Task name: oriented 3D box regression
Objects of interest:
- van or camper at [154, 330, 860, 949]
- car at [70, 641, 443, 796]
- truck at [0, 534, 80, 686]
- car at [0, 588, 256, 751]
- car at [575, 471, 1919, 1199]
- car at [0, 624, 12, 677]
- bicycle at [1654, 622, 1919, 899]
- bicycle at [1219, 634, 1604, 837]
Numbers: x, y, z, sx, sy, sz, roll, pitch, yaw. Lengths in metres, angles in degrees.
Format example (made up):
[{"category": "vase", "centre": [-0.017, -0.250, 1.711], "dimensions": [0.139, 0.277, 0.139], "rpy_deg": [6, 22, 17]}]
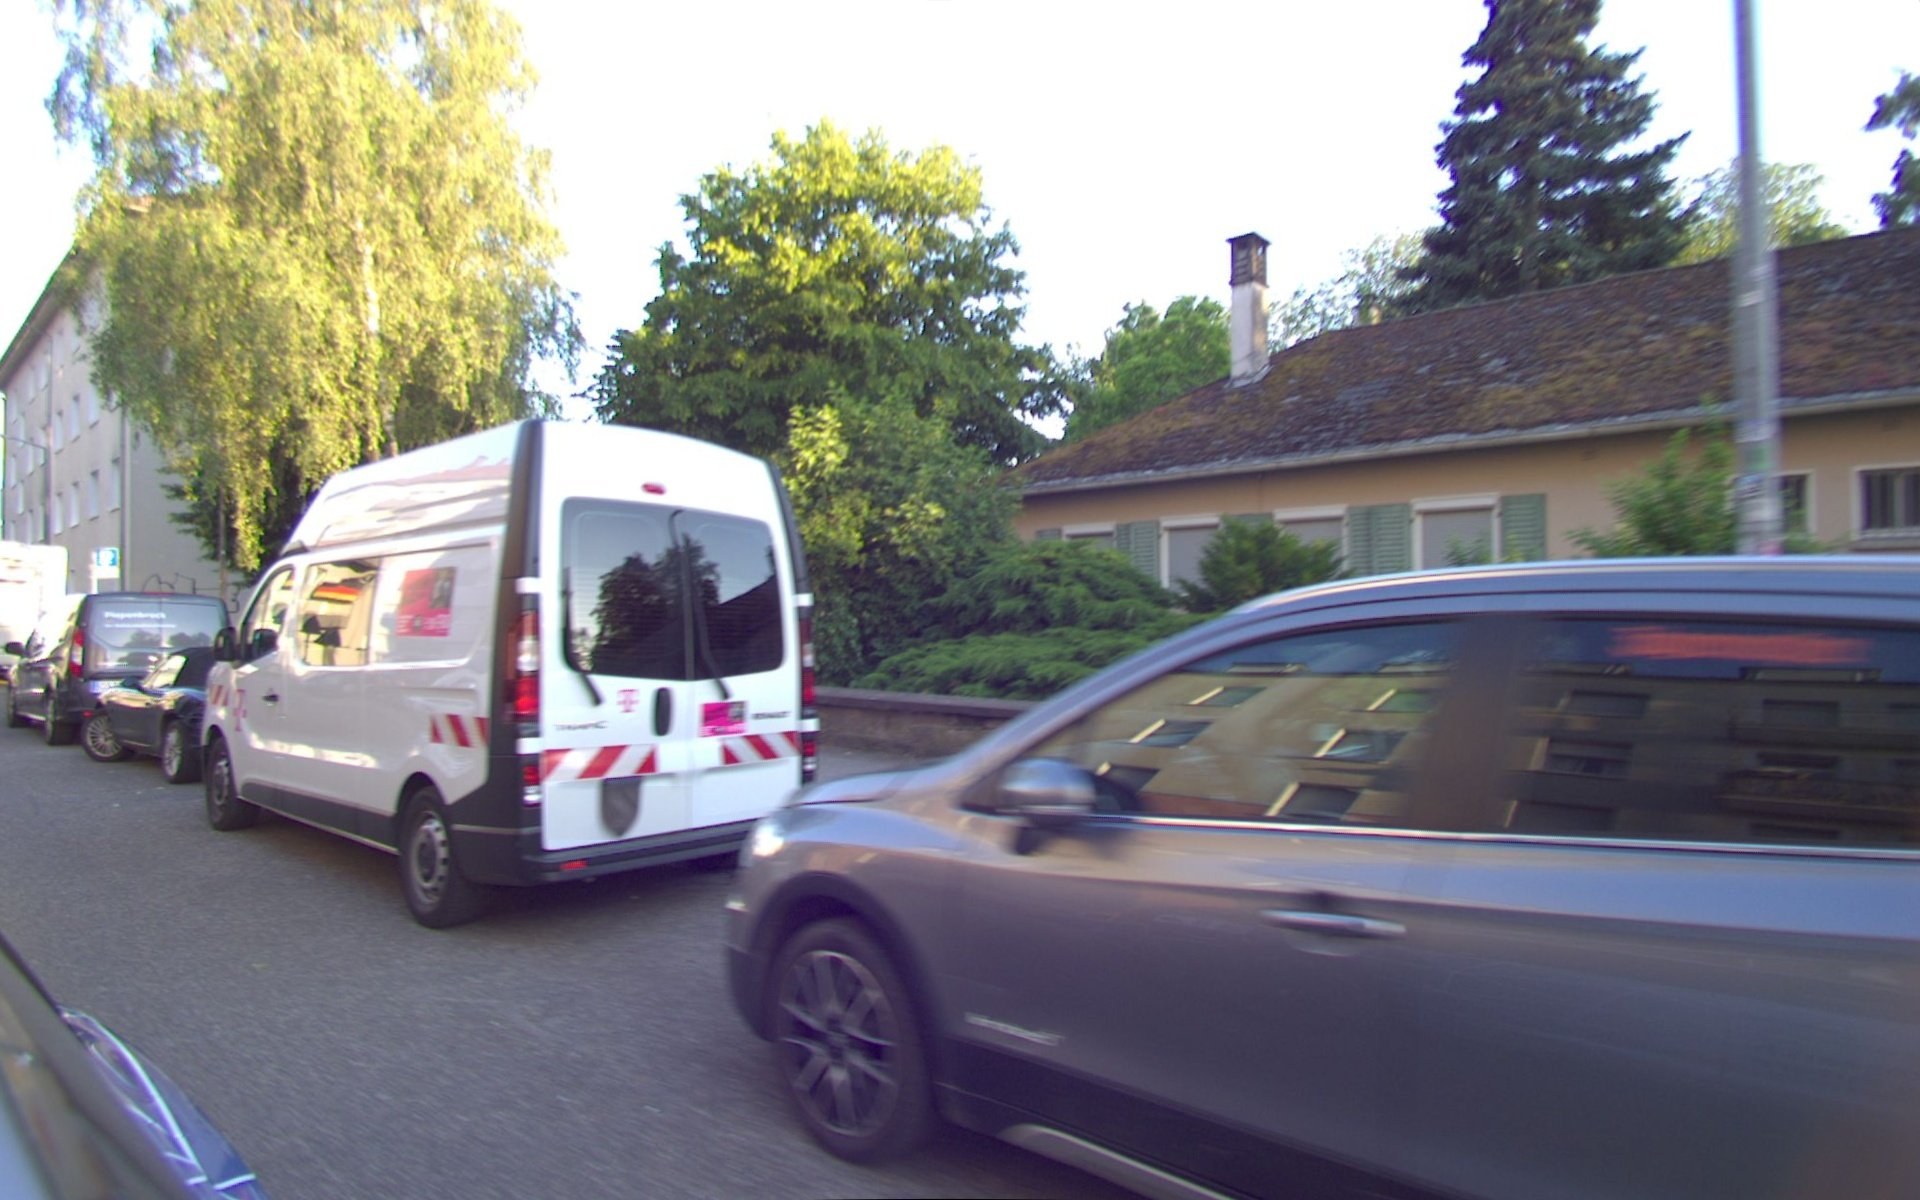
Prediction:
[{"category": "van or camper", "centre": [-3.483, 0.217, 6.808], "dimensions": [6.080, 2.475, 1.973], "rpy_deg": [-1, -2, 41]}, {"category": "car", "centre": [-7.318, 1.069, 10.422], "dimensions": [4.028, 1.198, 1.976], "rpy_deg": [-1, -1, 36]}, {"category": "truck", "centre": [-24.396, 0.283, 25.141], "dimensions": [8.011, 3.379, 2.500], "rpy_deg": [-1, -4, 40]}, {"category": "car", "centre": [-11.327, 0.844, 13.551], "dimensions": [4.945, 1.801, 1.890], "rpy_deg": [-1, -3, 40]}, {"category": "car", "centre": [1.052, 0.620, 2.769], "dimensions": [4.787, 1.530, 1.972], "rpy_deg": [-1, -1, 42]}, {"category": "car", "centre": [-29.407, 1.441, 29.670], "dimensions": [4.908, 1.488, 1.886], "rpy_deg": [-2, -4, 42]}, {"category": "bicycle", "centre": [4.179, 0.662, 4.317], "dimensions": [1.953, 1.126, 0.538], "rpy_deg": [-1, -1, 40]}, {"category": "bicycle", "centre": [2.519, 0.695, 5.849], "dimensions": [1.955, 0.972, 0.537], "rpy_deg": [-1, -1, 43]}]
